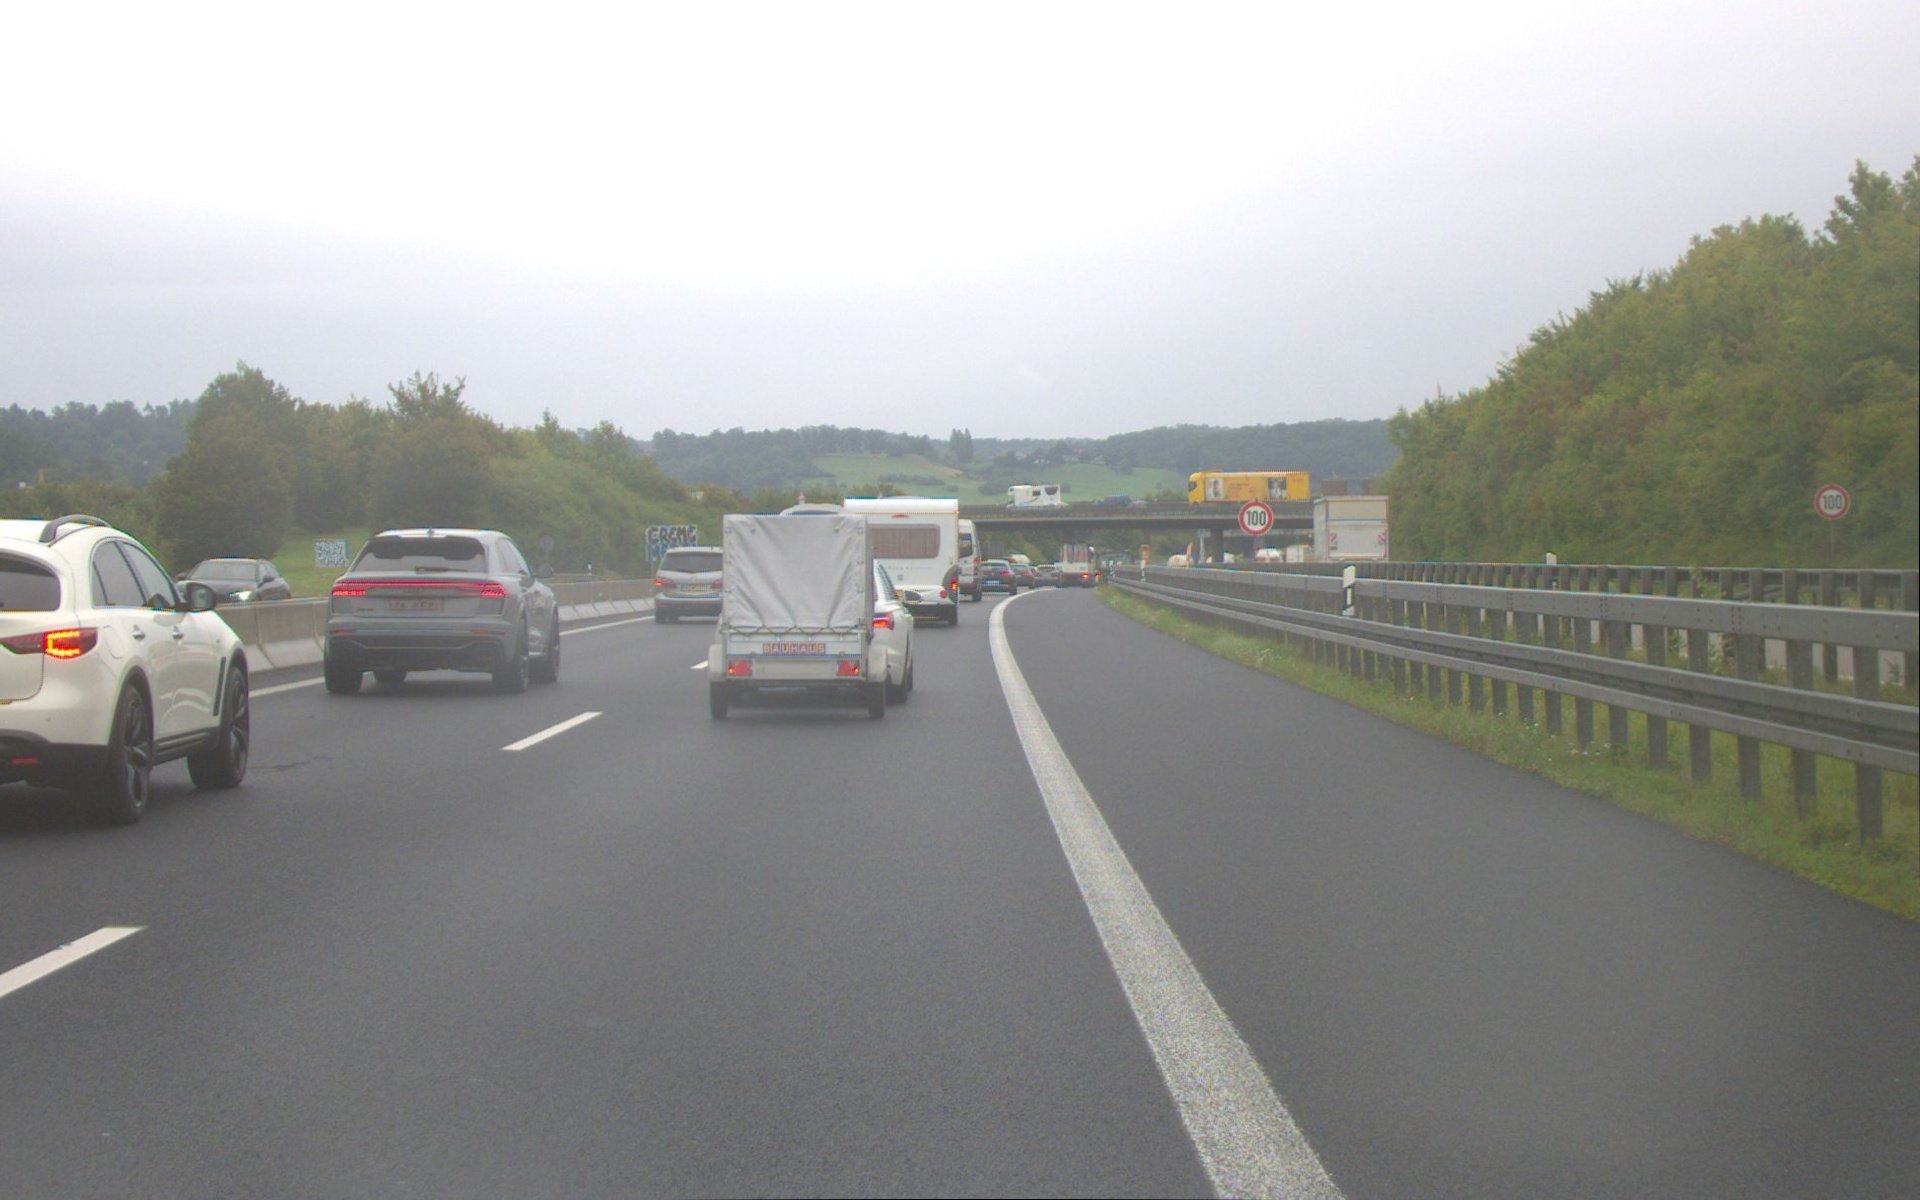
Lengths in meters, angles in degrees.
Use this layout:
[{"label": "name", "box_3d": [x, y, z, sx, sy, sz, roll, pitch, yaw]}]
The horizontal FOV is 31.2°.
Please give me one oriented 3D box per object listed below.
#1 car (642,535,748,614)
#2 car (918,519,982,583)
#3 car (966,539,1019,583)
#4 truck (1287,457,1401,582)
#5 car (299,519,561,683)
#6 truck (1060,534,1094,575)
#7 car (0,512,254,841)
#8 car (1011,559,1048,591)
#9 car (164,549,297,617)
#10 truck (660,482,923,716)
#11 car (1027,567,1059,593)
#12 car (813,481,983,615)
[{"label": "car", "box_3d": [-5.567, -0.562, 72.558, 1.900, 1.607, 4.017, 0, 1, 0]}, {"label": "car", "box_3d": [-0.354, -1.596, 112.299, 1.993, 2.029, 4.152, 1, 1, -1]}, {"label": "car", "box_3d": [1.329, -1.570, 138.288, 1.994, 1.744, 4.000, 1, 1, 2]}, {"label": "truck", "box_3d": [16.242, -3.410, 146.266, 4.094, 5.086, 10.463, 0, 1, 3]}, {"label": "car", "box_3d": [-5.550, -0.016, 36.541, 2.174, 1.626, 4.501, 0, 1, -1]}, {"label": "truck", "box_3d": [8.902, -3.461, 261.318, 2.278, 3.072, 7.245, 1, 1, 4]}, {"label": "car", "box_3d": [-5.373, 0.352, 19.318, 1.976, 1.633, 4.501, 0, 1, -1]}, {"label": "car", "box_3d": [3.922, -1.398, 193.752, 1.994, 1.744, 4.000, 1, 1, 3]}, {"label": "car", "box_3d": [-15.651, -0.397, 73.948, 1.900, 1.400, 4.379, 0, 1, 0]}, {"label": "truck", "box_3d": [-1.468, -0.075, 32.768, 2.019, 1.979, 7.213, 0, 1, 1]}, {"label": "car", "box_3d": [5.564, -1.338, 230.967, 1.994, 1.744, 4.000, 1, 1, 4]}, {"label": "car", "box_3d": [-1.199, -1.077, 70.209, 3.017, 2.607, 6.074, 0, 1, 3]}]
